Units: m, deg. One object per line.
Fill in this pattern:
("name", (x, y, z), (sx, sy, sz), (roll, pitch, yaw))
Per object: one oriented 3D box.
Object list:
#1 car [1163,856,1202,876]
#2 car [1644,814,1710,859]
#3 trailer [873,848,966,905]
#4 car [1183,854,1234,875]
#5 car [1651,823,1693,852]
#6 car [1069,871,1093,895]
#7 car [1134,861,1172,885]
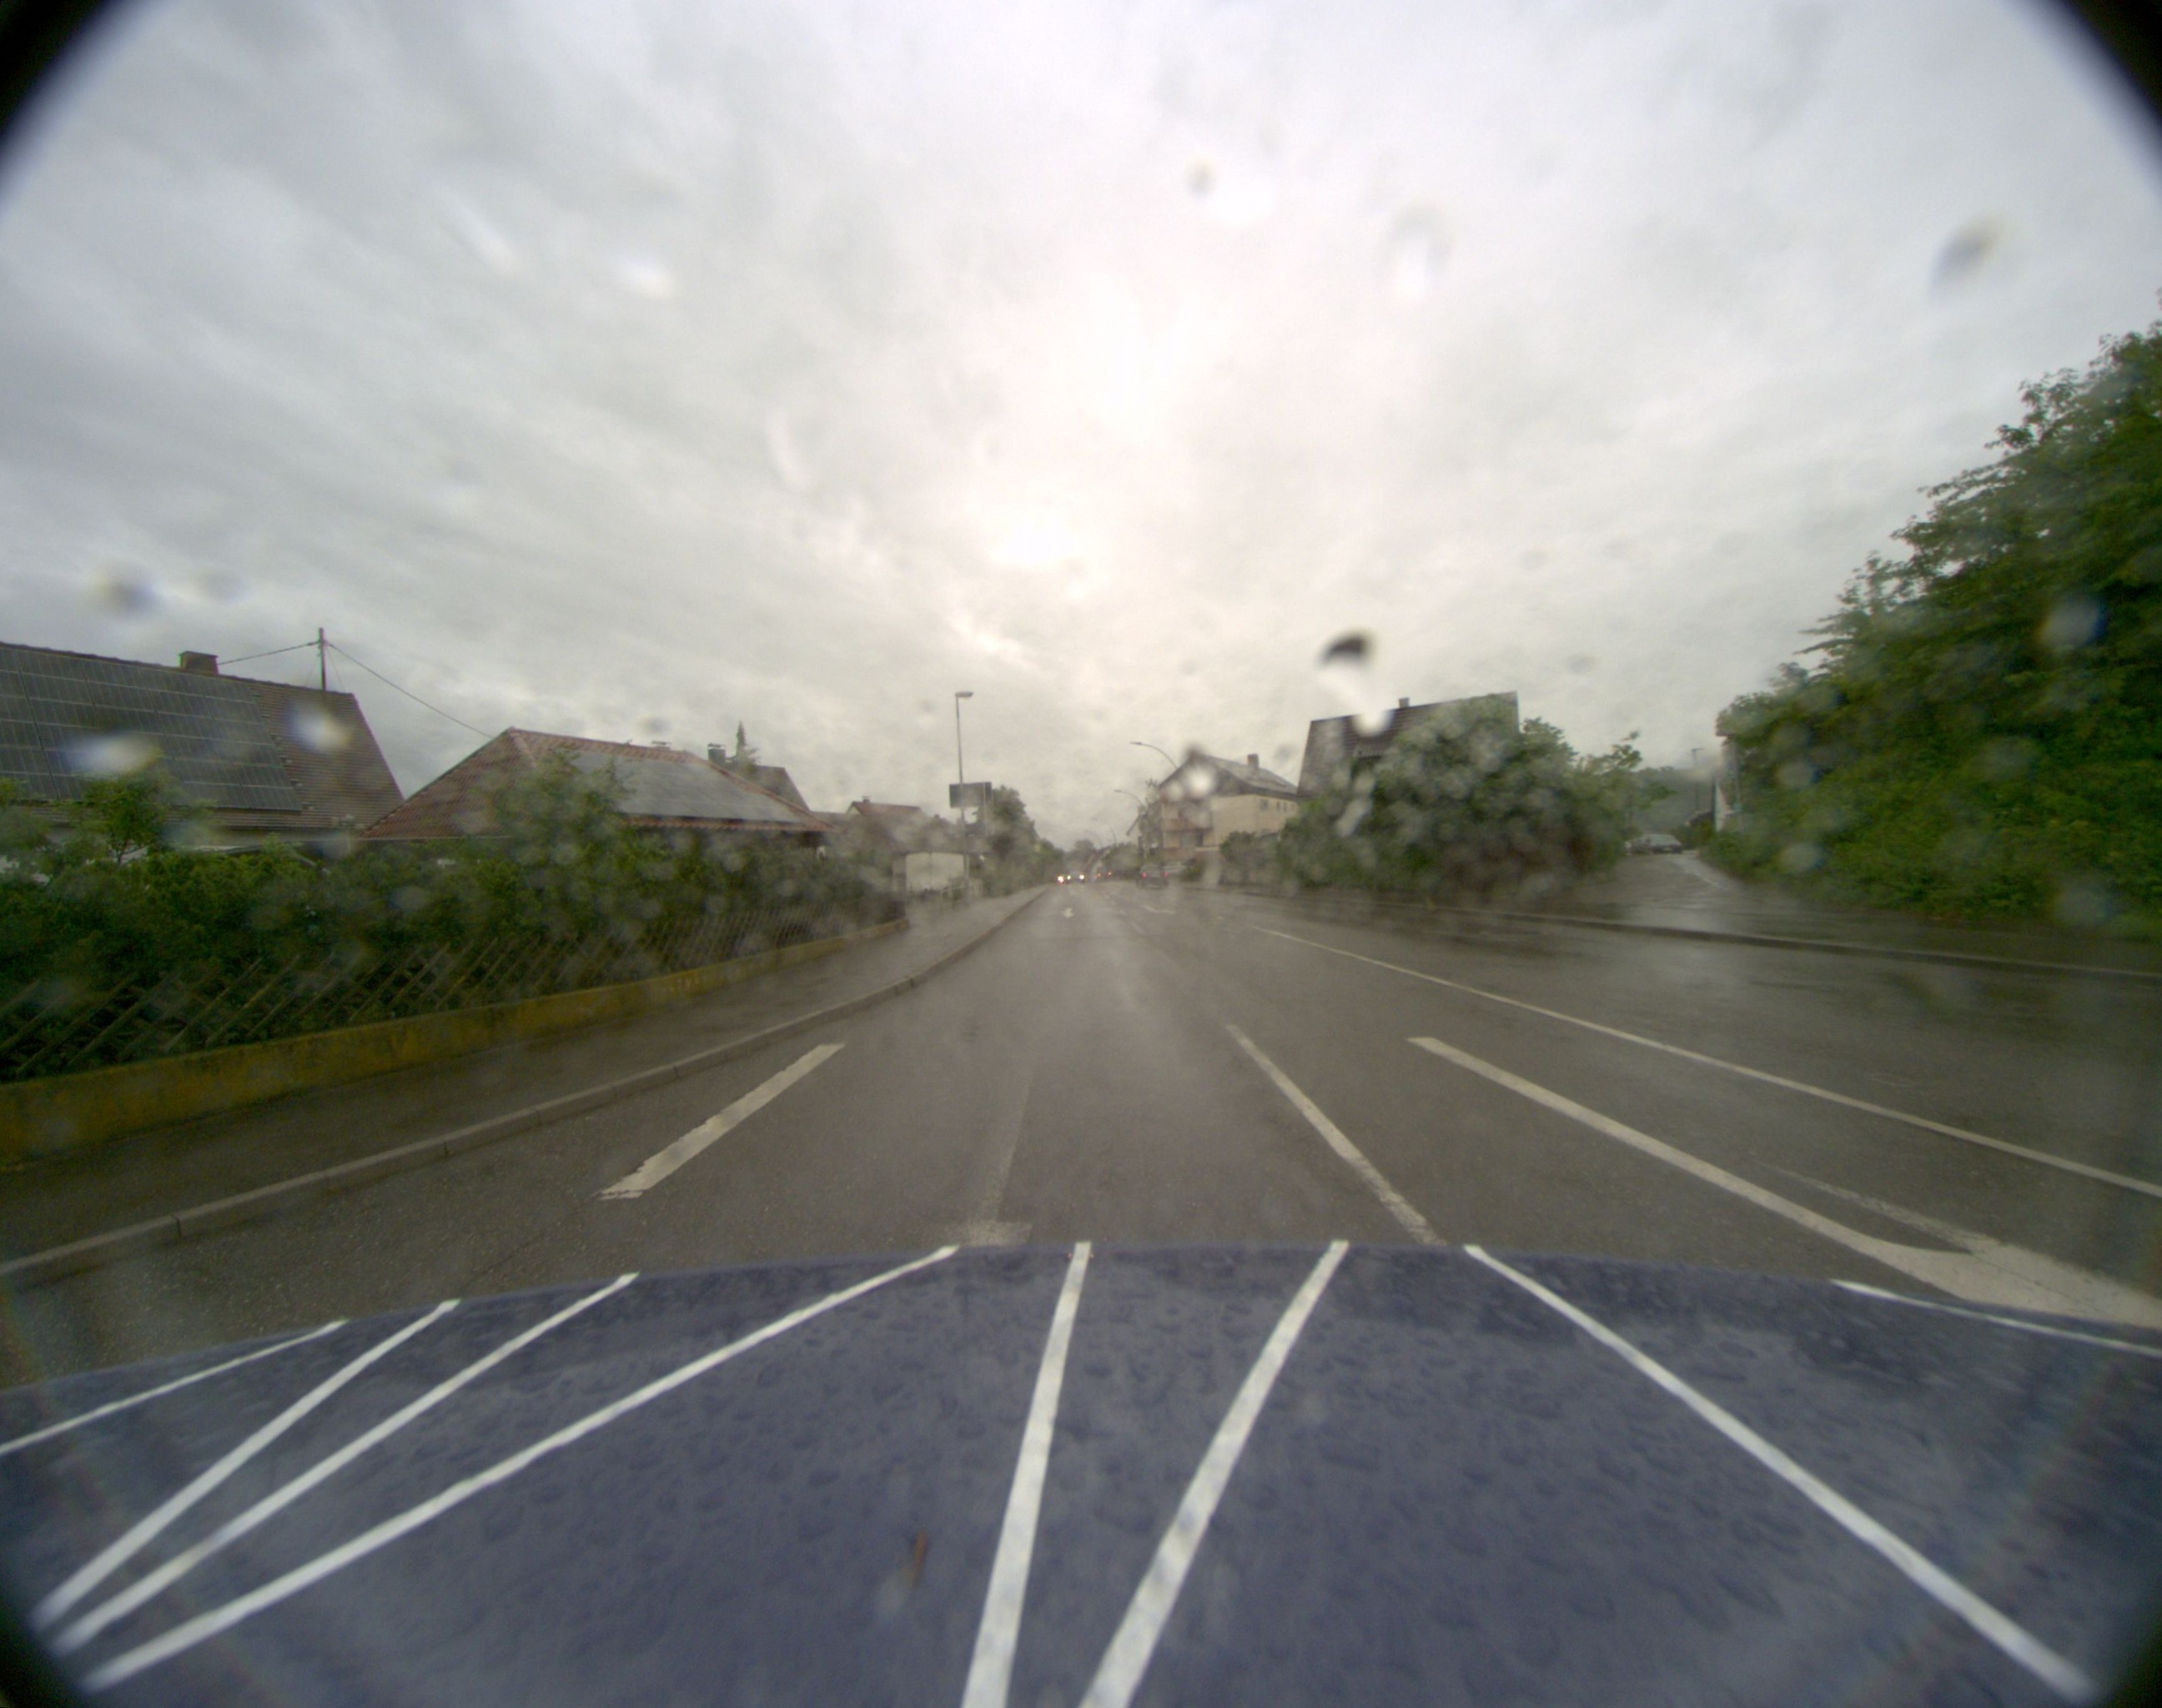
("car", (8.972, 1.053, 67.141), (1.864, 1.510, 4.007), (-3, 0, 32))
("car", (22.971, -0.670, 29.220), (1.706, 1.579, 3.669), (-2, 0, 42))
("trailer", (-7.750, 1.022, 36.925), (1.645, 2.502, 4.712), (-3, -1, 29))
("car", (10.307, 0.862, 61.501), (3.661, 1.510, 1.758), (-3, 0, 35))
("car", (41.132, -1.155, 52.856), (1.995, 1.848, 4.008), (-3, 0, 41))
("car", (0.032, 2.651, 70.928), (1.998, 2.002, 4.000), (-3, 0, 1))
("car", (4.443, 1.168, 47.411), (1.681, 1.379, 3.459), (-3, 0, -5))
